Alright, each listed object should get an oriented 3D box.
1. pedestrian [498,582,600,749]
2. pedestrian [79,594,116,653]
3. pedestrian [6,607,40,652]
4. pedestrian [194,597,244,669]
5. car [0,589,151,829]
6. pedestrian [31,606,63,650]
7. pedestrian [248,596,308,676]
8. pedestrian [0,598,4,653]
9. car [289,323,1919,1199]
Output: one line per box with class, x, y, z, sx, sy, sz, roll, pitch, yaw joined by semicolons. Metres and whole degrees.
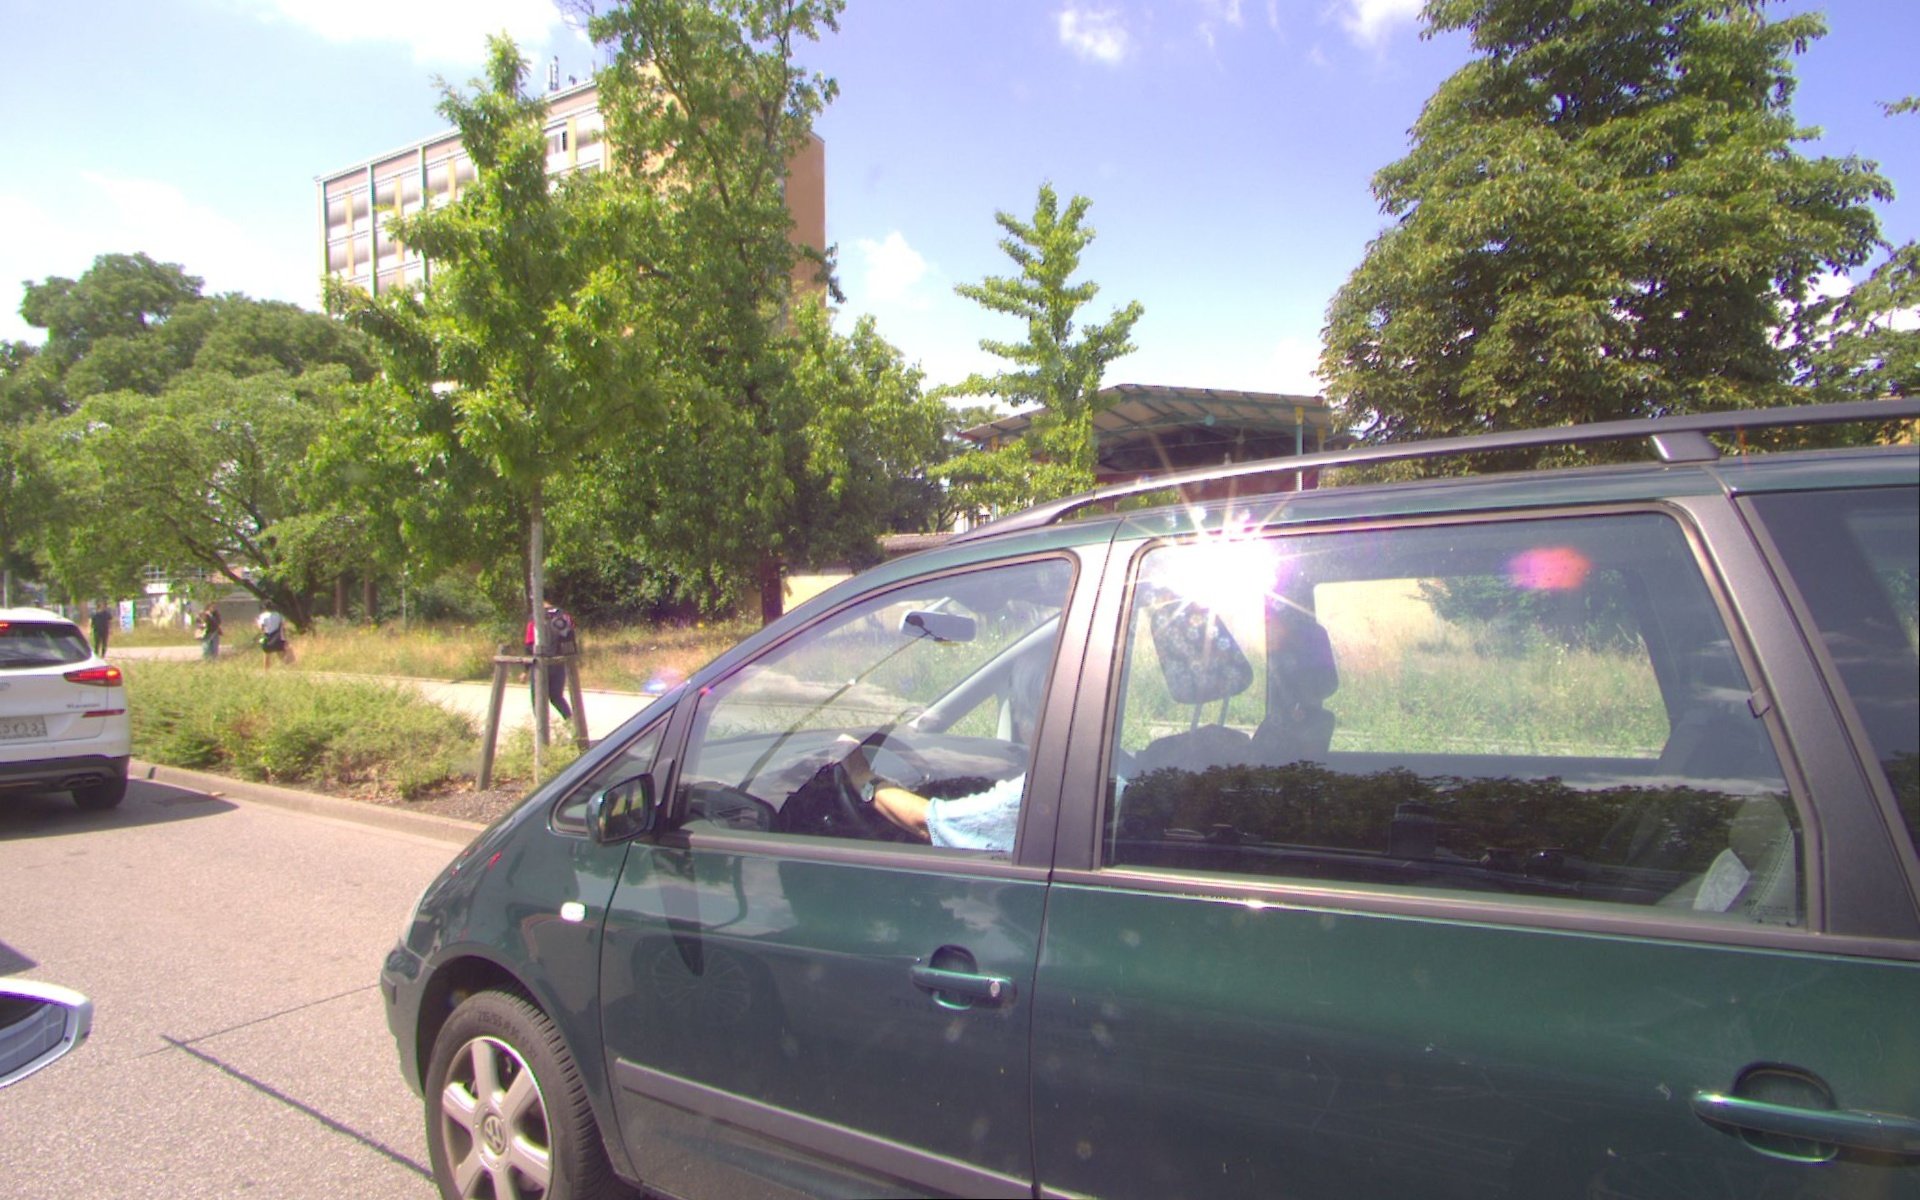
pedestrian;-4.423;0.676;10.773;0.807;1.706;0.754;0;1;44
pedestrian;-27.075;0.741;31.432;0.806;1.813;0.755;0;0;40
pedestrian;-39.978;1.243;42.726;0.802;1.874;0.759;0;1;22
pedestrian;-17.820;0.779;24.092;0.805;1.677;0.756;0;1;36
car;-8.443;0.781;8.161;3.919;1.700;1.810;0;0;34
pedestrian;-39.687;1.204;43.527;0.803;1.874;0.759;0;1;24
pedestrian;-13.724;0.704;20.162;0.805;1.578;0.757;0;1;34
pedestrian;-33.437;0.867;34.374;0.805;1.874;0.756;0;1;36
car;0.537;0.635;2.279;4.329;1.737;1.799;0;-2;32
